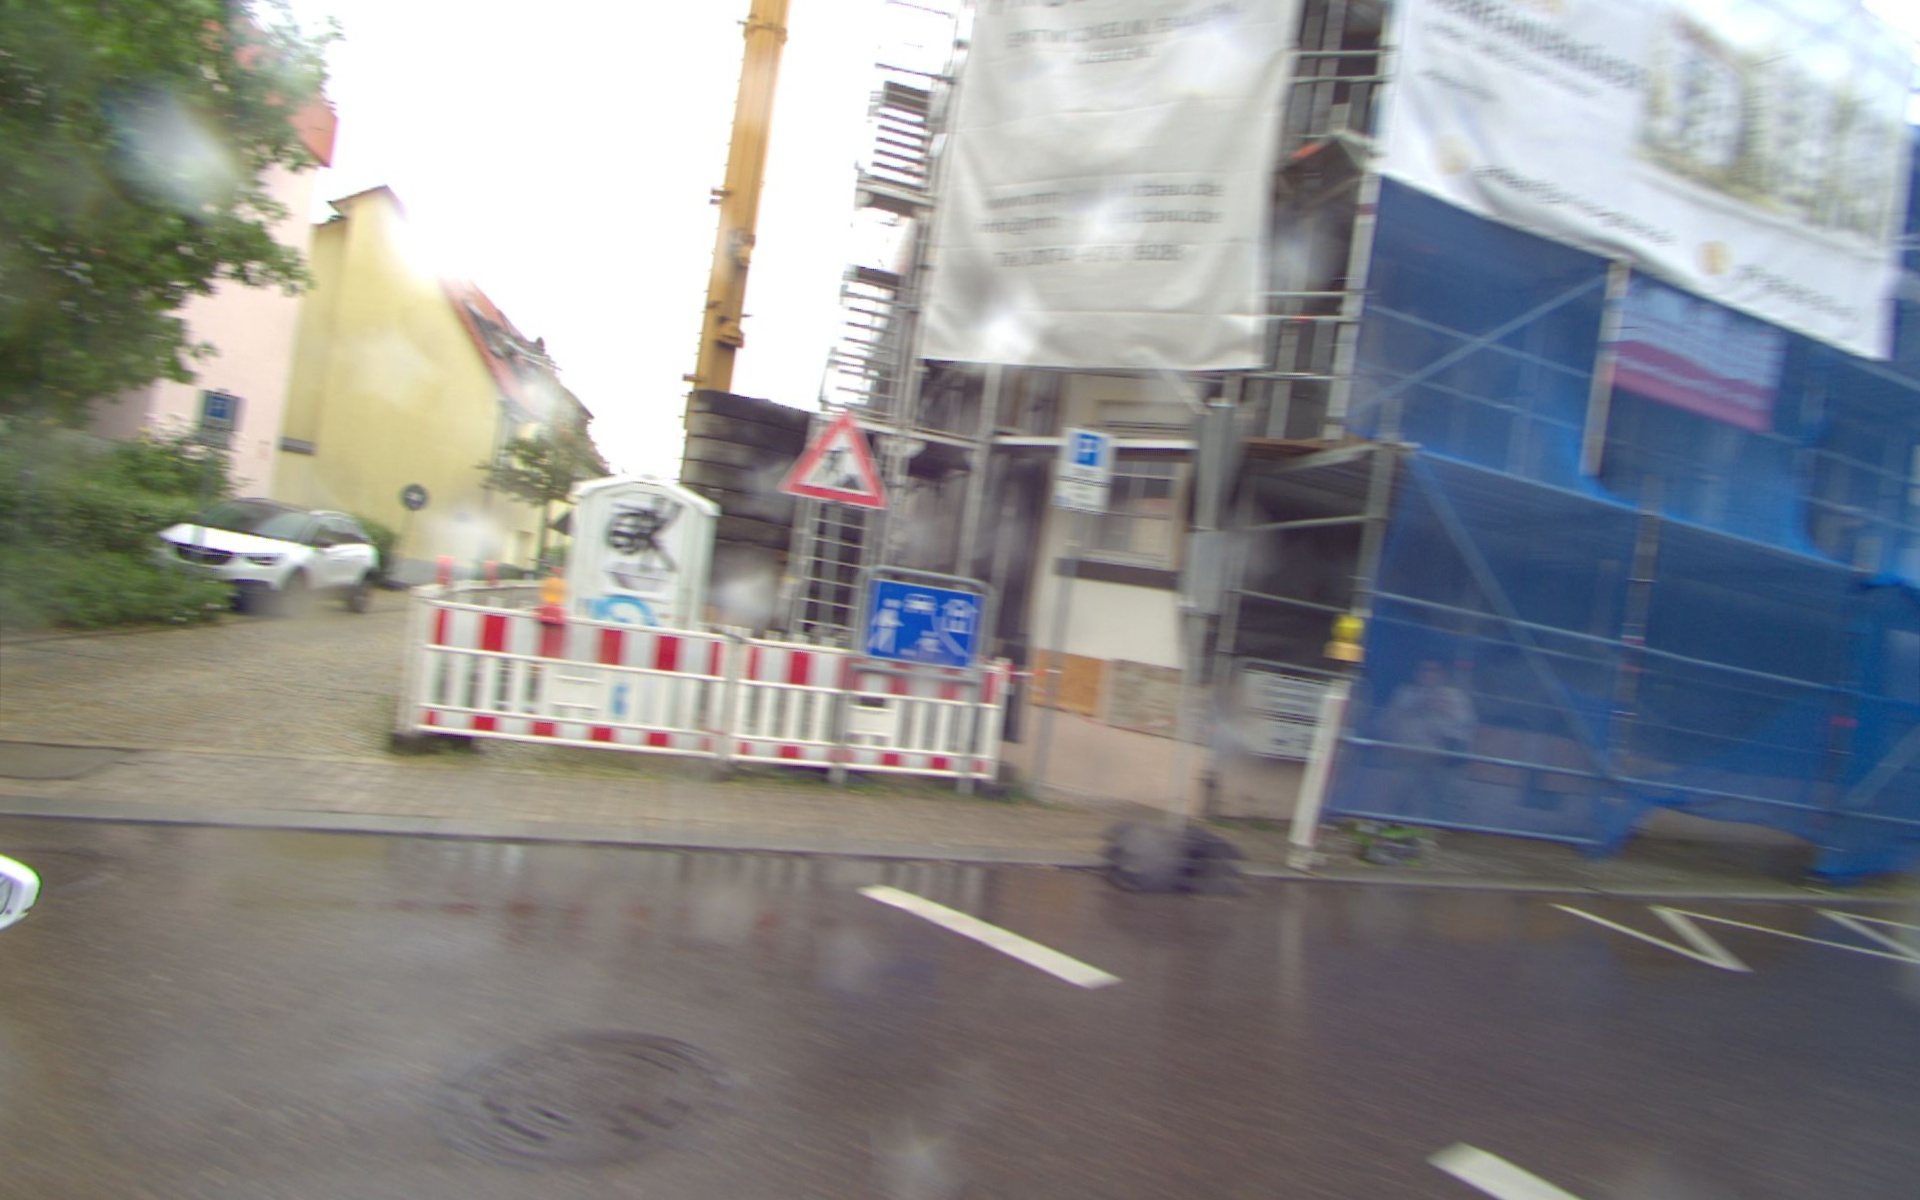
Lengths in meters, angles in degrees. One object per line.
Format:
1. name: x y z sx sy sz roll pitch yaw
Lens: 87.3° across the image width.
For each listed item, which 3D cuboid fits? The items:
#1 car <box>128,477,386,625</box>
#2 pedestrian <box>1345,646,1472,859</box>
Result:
1. car: -10.437 -0.667 15.321 1.580 1.697 3.929 10 -1 -12
2. pedestrian: 3.642 1.222 8.201 0.430 1.601 0.653 6 2 -19
